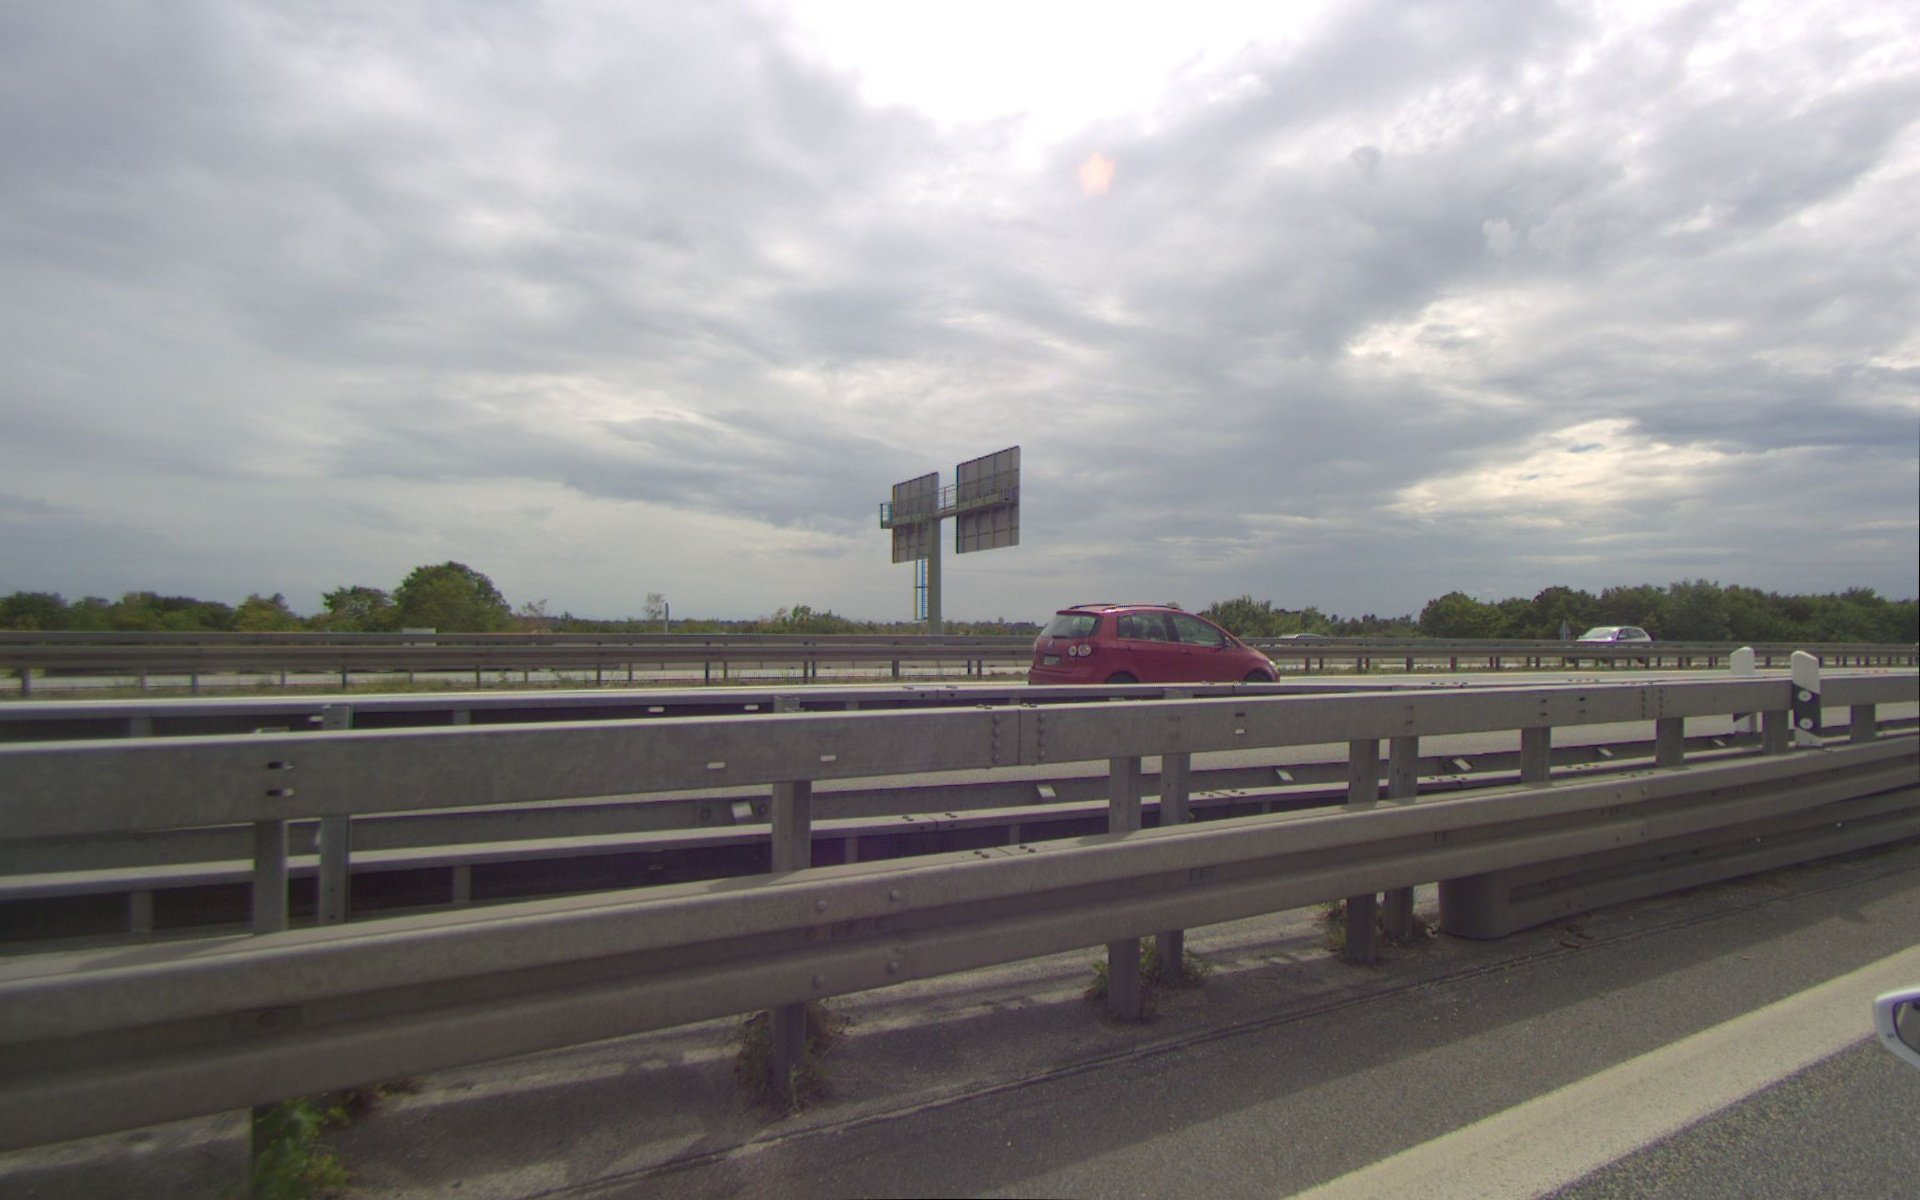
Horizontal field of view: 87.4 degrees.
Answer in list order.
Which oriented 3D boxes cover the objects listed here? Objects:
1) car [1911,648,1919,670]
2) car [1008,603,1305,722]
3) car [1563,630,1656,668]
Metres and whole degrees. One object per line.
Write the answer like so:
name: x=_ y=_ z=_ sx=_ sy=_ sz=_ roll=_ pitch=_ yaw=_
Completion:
car: x=77.387 y=4.714 z=79.497 sx=3.948 sy=1.728 sz=1.823 roll=1 pitch=0 yaw=-26
car: x=3.027 y=0.846 z=15.308 sx=4.301 sy=1.566 sz=1.811 roll=0 pitch=1 yaw=-29
car: x=30.808 y=2.295 z=47.614 sx=4.459 sy=1.644 sz=1.737 roll=0 pitch=1 yaw=-28
